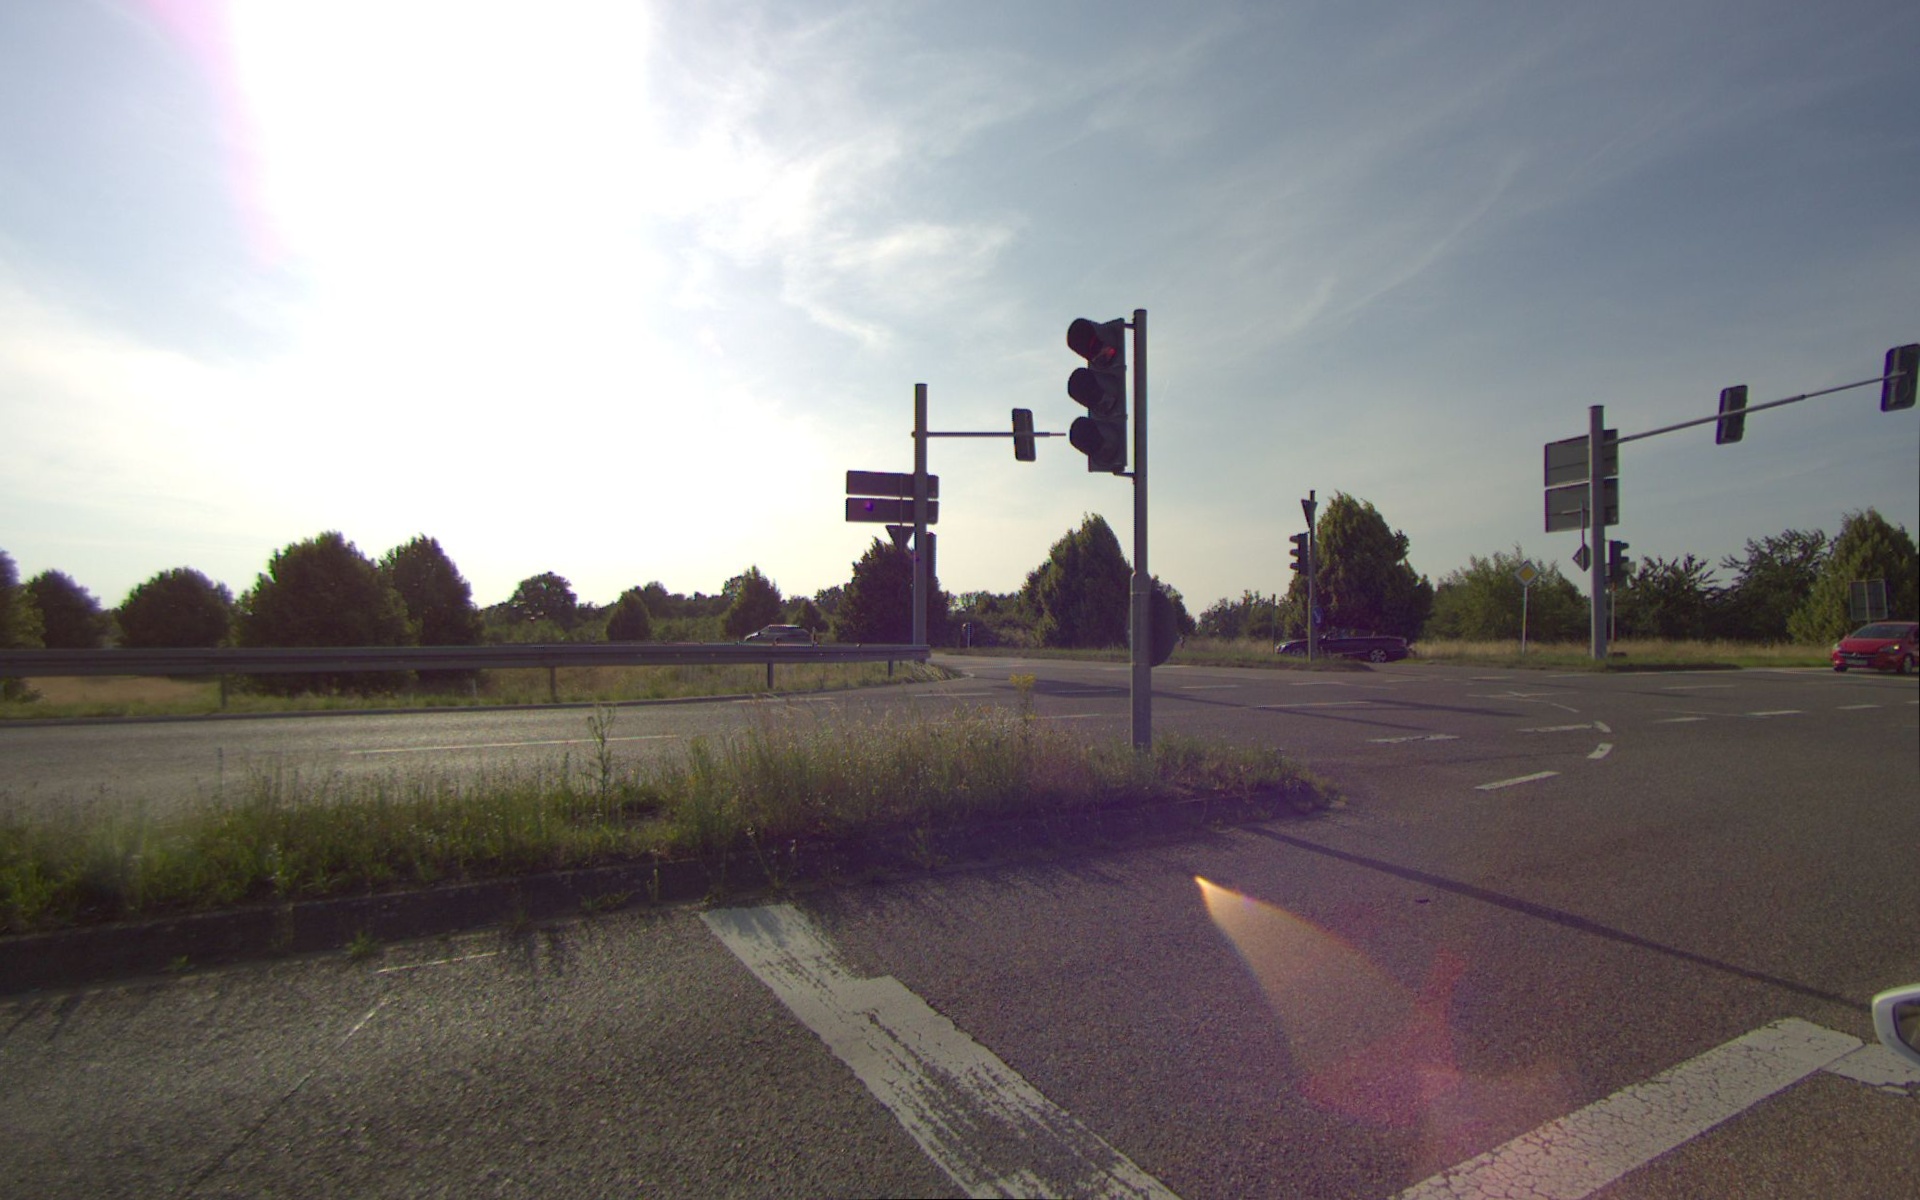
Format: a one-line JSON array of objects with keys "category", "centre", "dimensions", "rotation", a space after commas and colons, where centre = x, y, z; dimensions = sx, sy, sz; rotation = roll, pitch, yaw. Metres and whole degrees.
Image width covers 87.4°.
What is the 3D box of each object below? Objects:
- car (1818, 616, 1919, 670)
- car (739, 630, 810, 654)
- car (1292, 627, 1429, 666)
[{"category": "car", "centre": [27.235, 1.257, 29.503], "dimensions": [3.752, 1.507, 1.716], "rotation": [1, -1, -25]}, {"category": "car", "centre": [-10.865, 2.408, 58.690], "dimensions": [4.601, 1.309, 1.435], "rotation": [0, -2, 39]}, {"category": "car", "centre": [14.596, 1.671, 36.844], "dimensions": [4.572, 1.299, 1.726], "rotation": [0, -1, 20]}]
